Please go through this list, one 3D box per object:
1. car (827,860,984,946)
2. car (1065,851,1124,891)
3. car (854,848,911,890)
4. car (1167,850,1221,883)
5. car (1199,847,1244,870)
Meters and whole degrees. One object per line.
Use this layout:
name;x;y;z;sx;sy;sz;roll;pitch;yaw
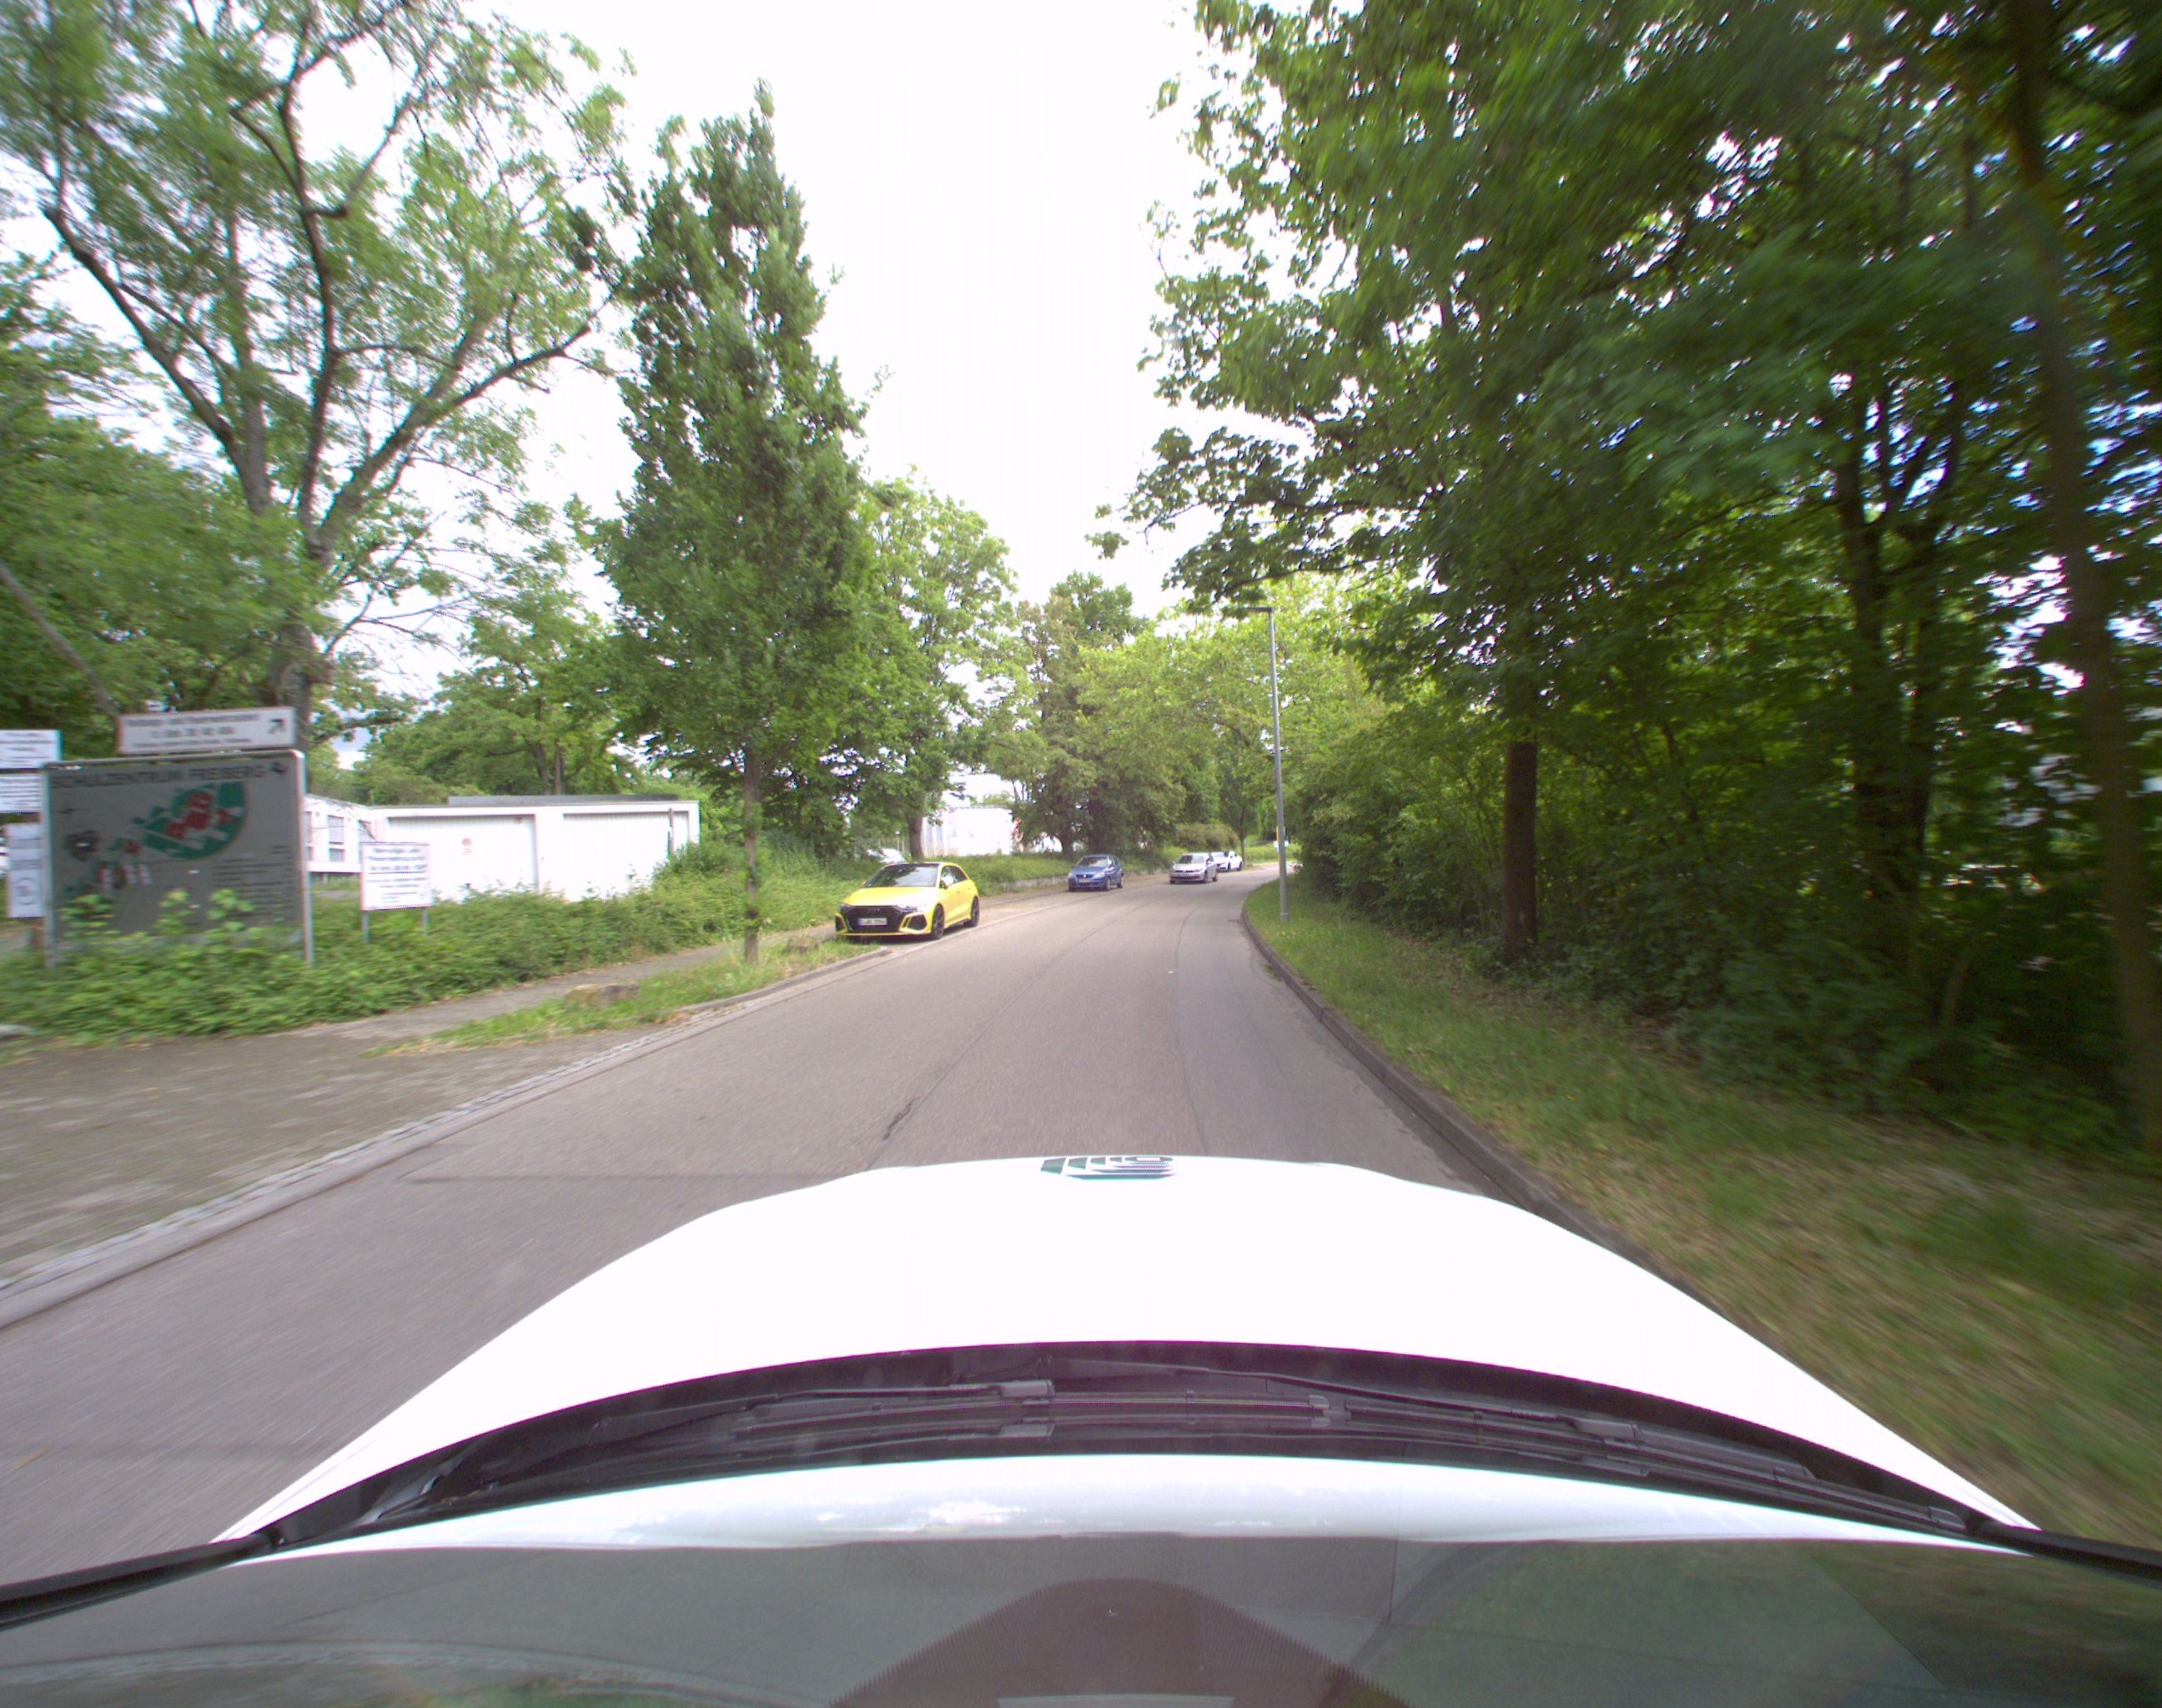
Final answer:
car;-3.283;0.872;16.148;1.691;1.403;4.281;-2;0;7
car;0.631;0.661;33.685;1.522;1.459;3.735;-2;0;15
car;-8.826;0.640;35.979;1.749;1.622;3.843;-3;1;-23
car;5.613;0.569;40.032;1.662;1.462;4.084;0;1;22
car;9.562;0.303;55.056;1.797;1.424;4.386;-1;0;26
